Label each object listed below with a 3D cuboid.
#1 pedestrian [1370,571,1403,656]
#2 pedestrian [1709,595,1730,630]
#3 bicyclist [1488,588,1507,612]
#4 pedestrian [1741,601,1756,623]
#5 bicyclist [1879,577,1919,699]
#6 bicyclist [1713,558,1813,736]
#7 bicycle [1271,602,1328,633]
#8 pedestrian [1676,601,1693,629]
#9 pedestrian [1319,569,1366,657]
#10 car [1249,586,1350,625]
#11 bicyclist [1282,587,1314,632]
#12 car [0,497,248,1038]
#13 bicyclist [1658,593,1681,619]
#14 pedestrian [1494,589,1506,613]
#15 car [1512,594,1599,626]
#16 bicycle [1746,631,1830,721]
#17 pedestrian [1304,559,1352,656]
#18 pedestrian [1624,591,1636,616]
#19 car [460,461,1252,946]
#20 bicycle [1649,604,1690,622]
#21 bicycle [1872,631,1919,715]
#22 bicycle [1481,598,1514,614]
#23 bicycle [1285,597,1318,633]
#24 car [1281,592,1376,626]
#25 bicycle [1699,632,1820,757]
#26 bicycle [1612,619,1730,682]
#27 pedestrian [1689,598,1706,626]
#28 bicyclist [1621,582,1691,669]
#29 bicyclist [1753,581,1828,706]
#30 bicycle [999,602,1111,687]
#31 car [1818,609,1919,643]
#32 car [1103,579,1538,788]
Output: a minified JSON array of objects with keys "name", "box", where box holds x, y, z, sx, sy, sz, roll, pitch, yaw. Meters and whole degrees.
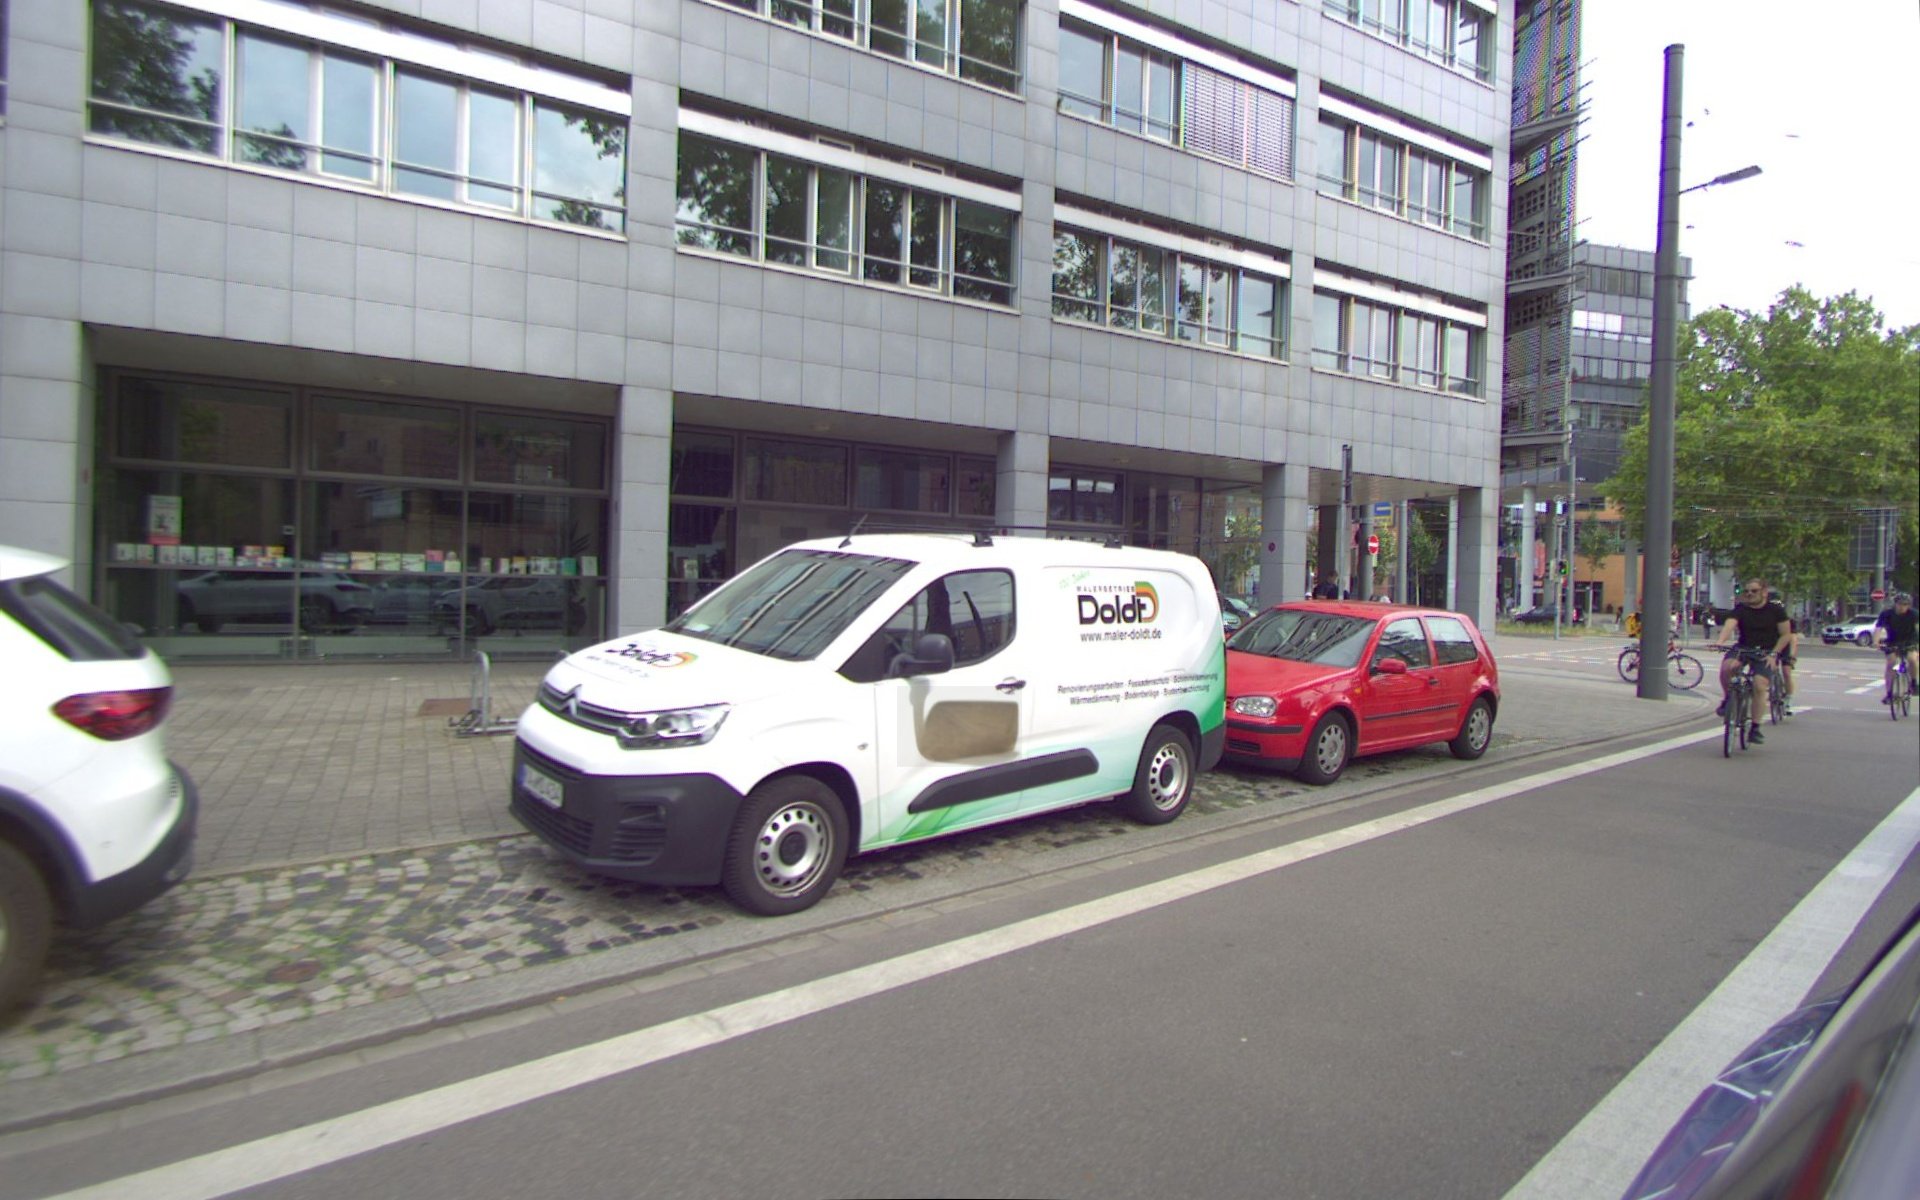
[{"name":"pedestrian","box":[8.953,0.274,21.248,0.549,1.748,0.492,3,0,21]},{"name":"pedestrian","box":[39.631,0.639,52.821,0.657,1.814,0.678,0,1,-38]},{"name":"bicyclist","box":[38.577,0.001,72.626,0.625,1.636,0.979,0,2,-33]},{"name":"pedestrian","box":[63.692,0.972,81.753,0.729,1.753,0.588,1,1,-1]},{"name":"bicyclist","box":[14.421,0.563,15.305,1.016,1.792,0.591,1,1,-40]},{"name":"bicyclist","box":[8.532,0.472,10.752,1.016,1.790,0.591,1,1,-40]},{"name":"bicycle","box":[13.132,0.667,39.192,0.670,1.069,2.209,-2,3,-30]},{"name":"pedestrian","box":[43.896,0.898,61.315,0.729,1.672,0.588,0,1,-32]},{"name":"pedestrian","box":[7.787,0.260,20.628,0.630,1.748,0.548,3,0,-30]},{"name":"car","box":[15.479,0.211,46.360,1.787,1.551,4.224,-1,2,-32]},{"name":"bicyclist","box":[13.091,0.352,39.238,0.662,1.687,0.982,-1,2,-30]},{"name":"car","box":[-4.723,0.427,2.537,1.996,1.622,4.510,6,4,44]},{"name":"bicyclist","box":[44.966,0.373,64.129,0.625,1.636,0.979,1,1,-33]},{"name":"pedestrian","box":[41.727,0.074,78.157,0.617,1.889,0.670,2,1,15]},{"name":"car","box":[36.308,0.590,61.823,1.925,1.760,4.186,1,1,-28]},{"name":"bicycle","box":[11.700,1.036,14.280,1.704,1.153,0.595,1,1,-40]},{"name":"pedestrian","box":[8.002,0.160,22.015,0.662,2.039,0.604,4,-1,-34]},{"name":"pedestrian","box":[50.692,0.274,76.582,0.504,1.889,0.547,2,1,-13]},{"name":"car","box":[-0.297,0.364,6.159,4.569,1.887,1.830,1,3,-43]},{"name":"bicycle","box":[44.958,0.812,64.126,0.625,1.023,2.007,1,2,-33]},{"name":"bicycle","box":[14.371,1.069,15.295,1.825,1.153,0.595,1,1,-41]},{"name":"bicycle","box":[38.561,0.439,72.634,0.626,1.023,2.007,0,2,-33]},{"name":"bicycle","box":[12.211,0.510,36.229,0.650,1.152,2.436,0,3,7]},{"name":"car","box":[17.615,0.390,48.555,1.787,1.450,4.004,-1,2,-32]},{"name":"bicycle","box":[8.530,0.949,10.766,2.054,1.153,0.595,1,1,-41]},{"name":"bicycle","box":[14.827,1.038,21.169,0.711,1.153,1.909,1,1,-22]},{"name":"pedestrian","box":[47.417,0.784,65.079,0.729,1.753,0.588,1,0,-32]},{"name":"bicyclist","box":[14.730,0.527,21.431,0.704,1.786,0.918,1,1,-23]},{"name":"bicyclist","box":[11.694,0.590,14.251,1.016,1.674,0.591,1,1,-40]},{"name":"bicycle","box":[1.249,0.572,13.553,0.416,0.999,1.559,1,2,-44]},{"name":"car","box":[47.027,1.309,52.015,4.543,1.682,1.968,0,0,-9]},{"name":"car","box":[3.475,0.635,9.444,4.173,1.450,1.729,1,4,-37]}]
